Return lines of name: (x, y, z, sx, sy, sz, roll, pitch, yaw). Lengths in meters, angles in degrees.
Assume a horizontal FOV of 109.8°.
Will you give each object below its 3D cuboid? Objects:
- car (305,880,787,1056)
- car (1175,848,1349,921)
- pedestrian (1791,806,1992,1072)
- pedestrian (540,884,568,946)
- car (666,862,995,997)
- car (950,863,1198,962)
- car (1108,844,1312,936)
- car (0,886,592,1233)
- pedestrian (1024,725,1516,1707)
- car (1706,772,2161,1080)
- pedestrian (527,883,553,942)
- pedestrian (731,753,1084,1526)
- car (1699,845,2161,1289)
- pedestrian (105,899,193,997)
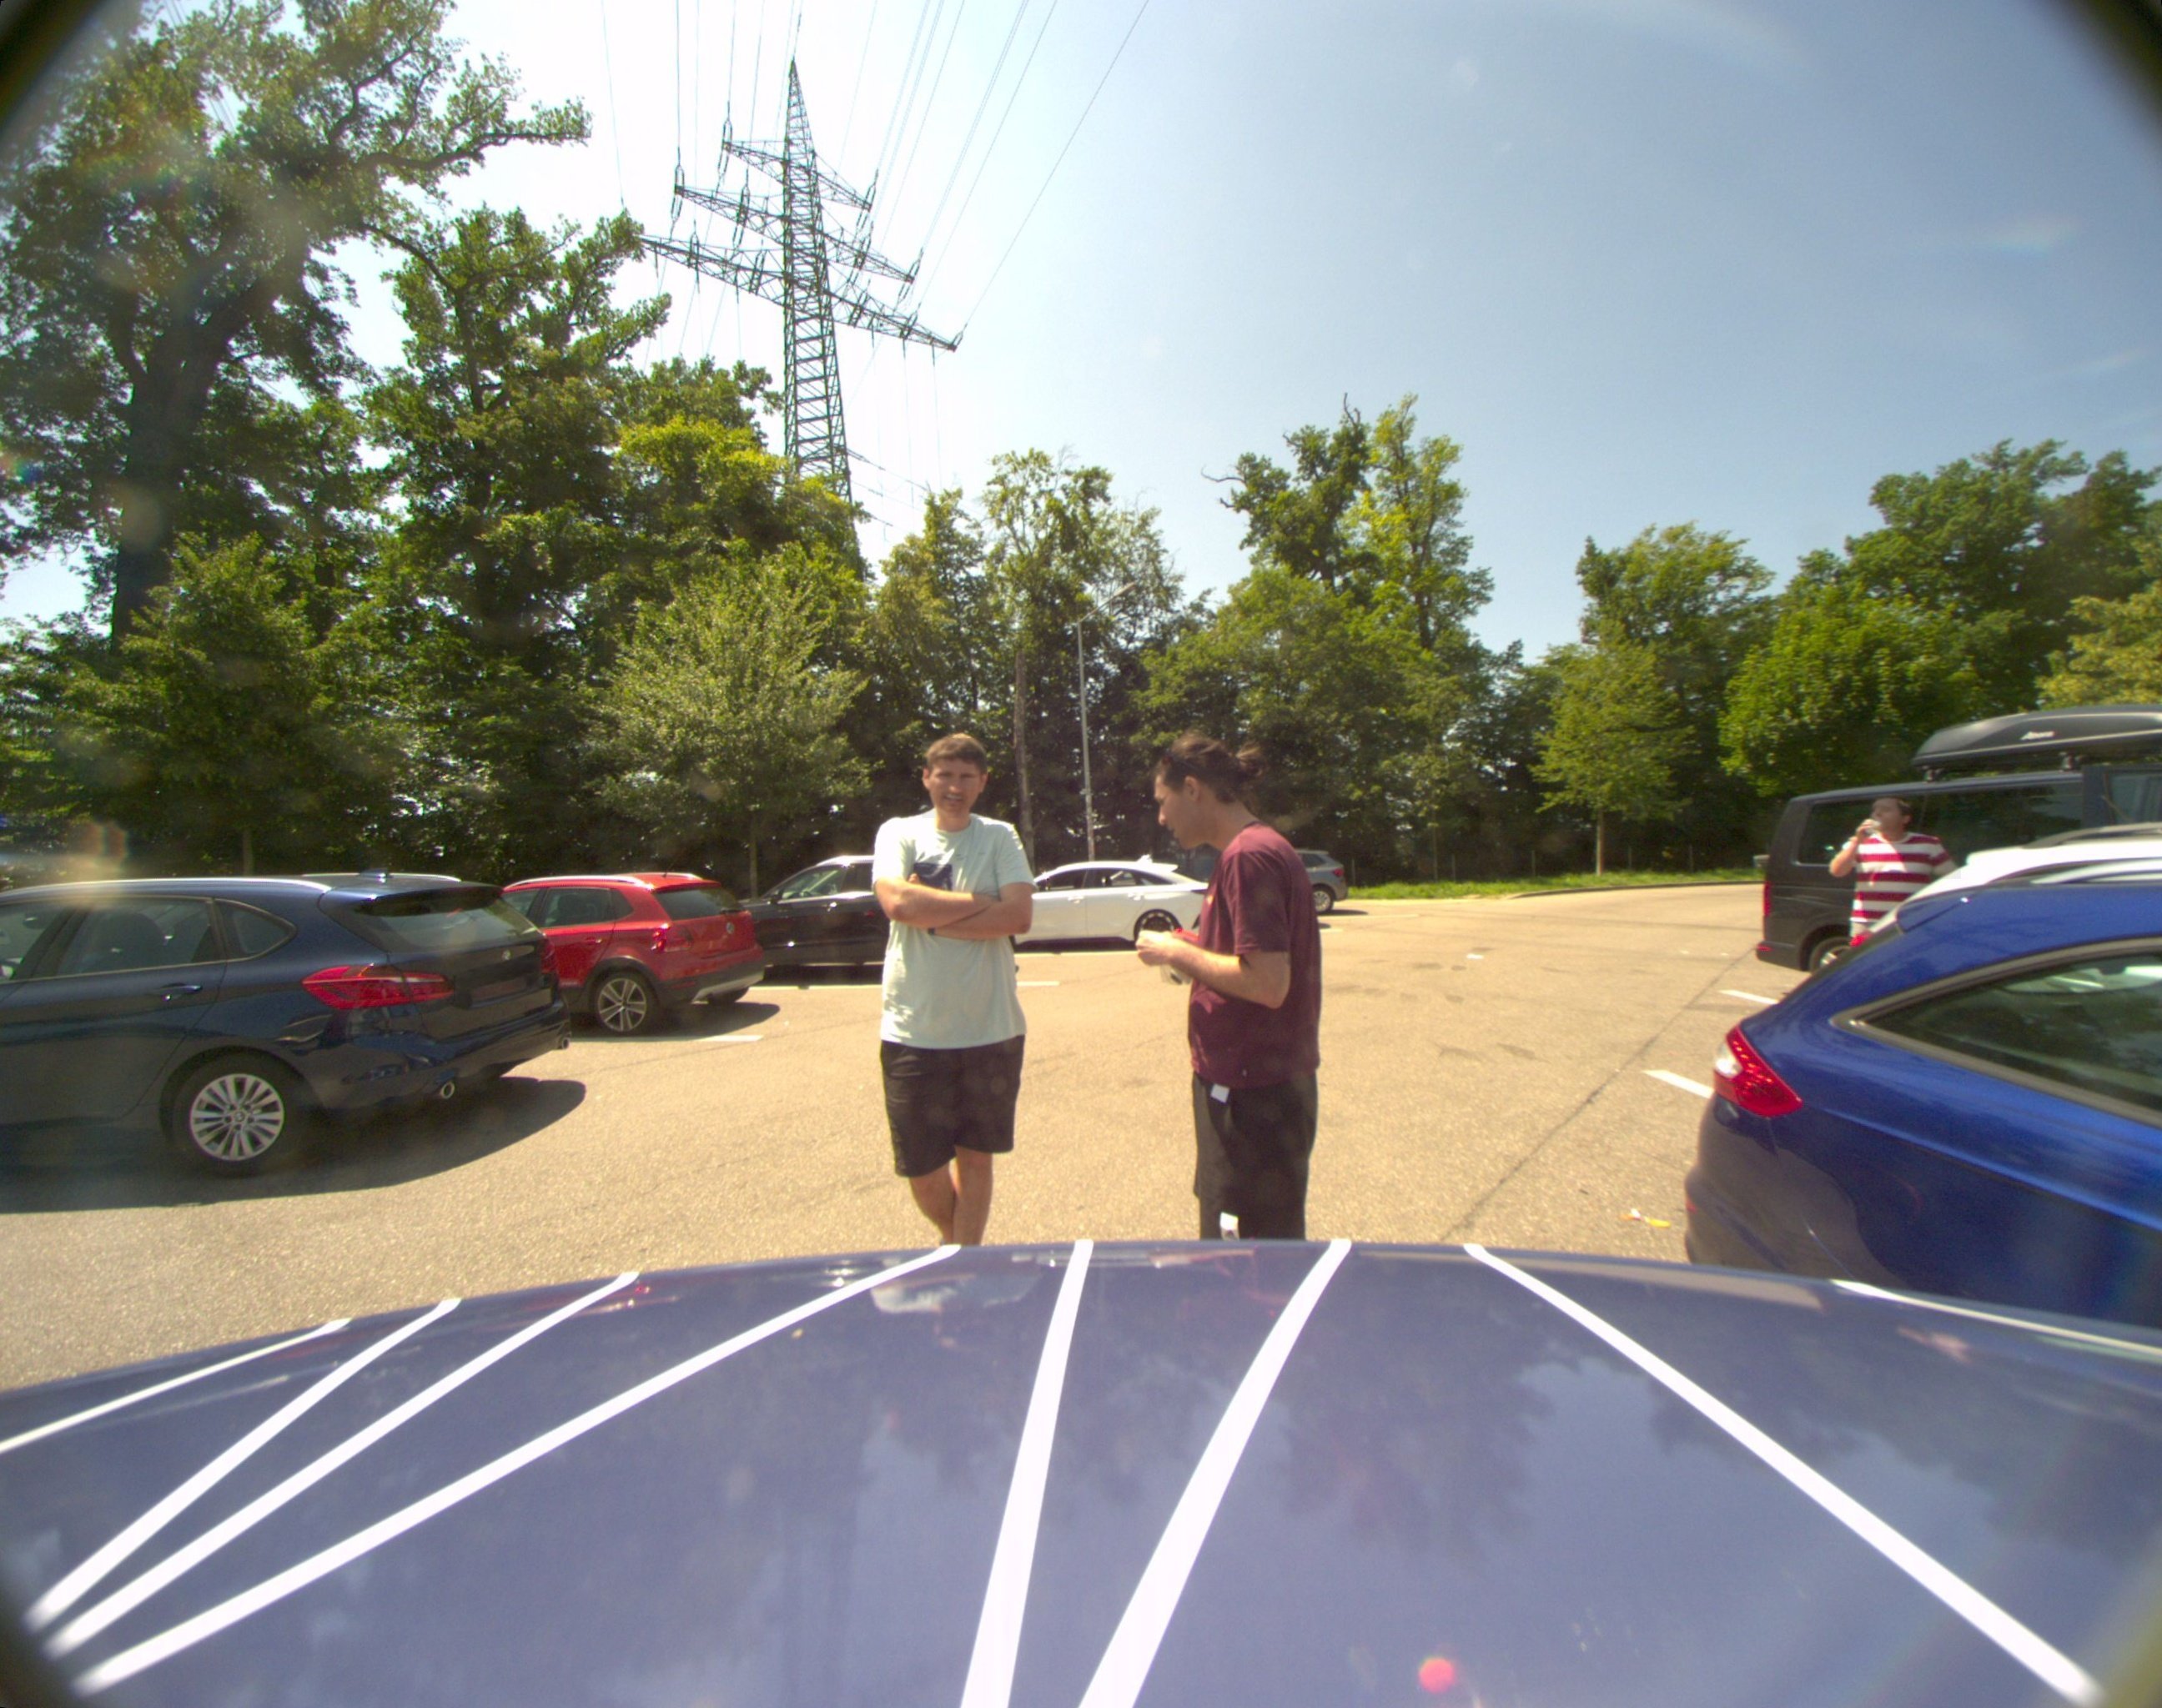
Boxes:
car: (-5.230, 1.088, 7.689, 3.823, 1.460, 1.651, -2, 1, 8)
car: (4.268, 0.705, 18.170, 3.822, 1.551, 1.652, -2, 1, 12)
pedestrian: (5.822, 0.552, 5.480, 0.786, 1.744, 0.754, -3, 1, -23)
pedestrian: (-10.162, 1.161, 14.643, 0.357, 1.158, 0.384, -3, 2, -41)
car: (-3.248, 0.960, 10.318, 3.825, 1.546, 1.651, -2, 1, 4)
car: (-0.073, 0.931, 12.693, 3.825, 1.394, 1.651, -2, 1, 4)
car: (2.608, 0.709, 15.475, 3.822, 1.686, 1.652, -2, 1, 12)
car: (-5.689, 1.064, 4.508, 4.342, 1.544, 1.747, -1, 1, -3)
pedestrian: (0.469, 0.714, 1.948, 0.919, 1.894, 0.815, -2, 1, 16)
car: (7.375, 0.413, 5.302, 1.758, 1.886, 4.571, -3, -1, -9)
pedestrian: (-11.007, 1.185, 15.458, 0.357, 1.158, 0.384, -3, 2, -41)
pedestrian: (-0.507, 0.714, 2.425, 0.814, 1.939, 0.920, -2, 1, -10)
car: (4.647, 0.728, 2.271, 1.757, 1.496, 4.574, -3, -1, -1)
pedestrian: (-12.727, 1.268, 10.392, 0.595, 1.238, 0.446, -3, 1, -33)
